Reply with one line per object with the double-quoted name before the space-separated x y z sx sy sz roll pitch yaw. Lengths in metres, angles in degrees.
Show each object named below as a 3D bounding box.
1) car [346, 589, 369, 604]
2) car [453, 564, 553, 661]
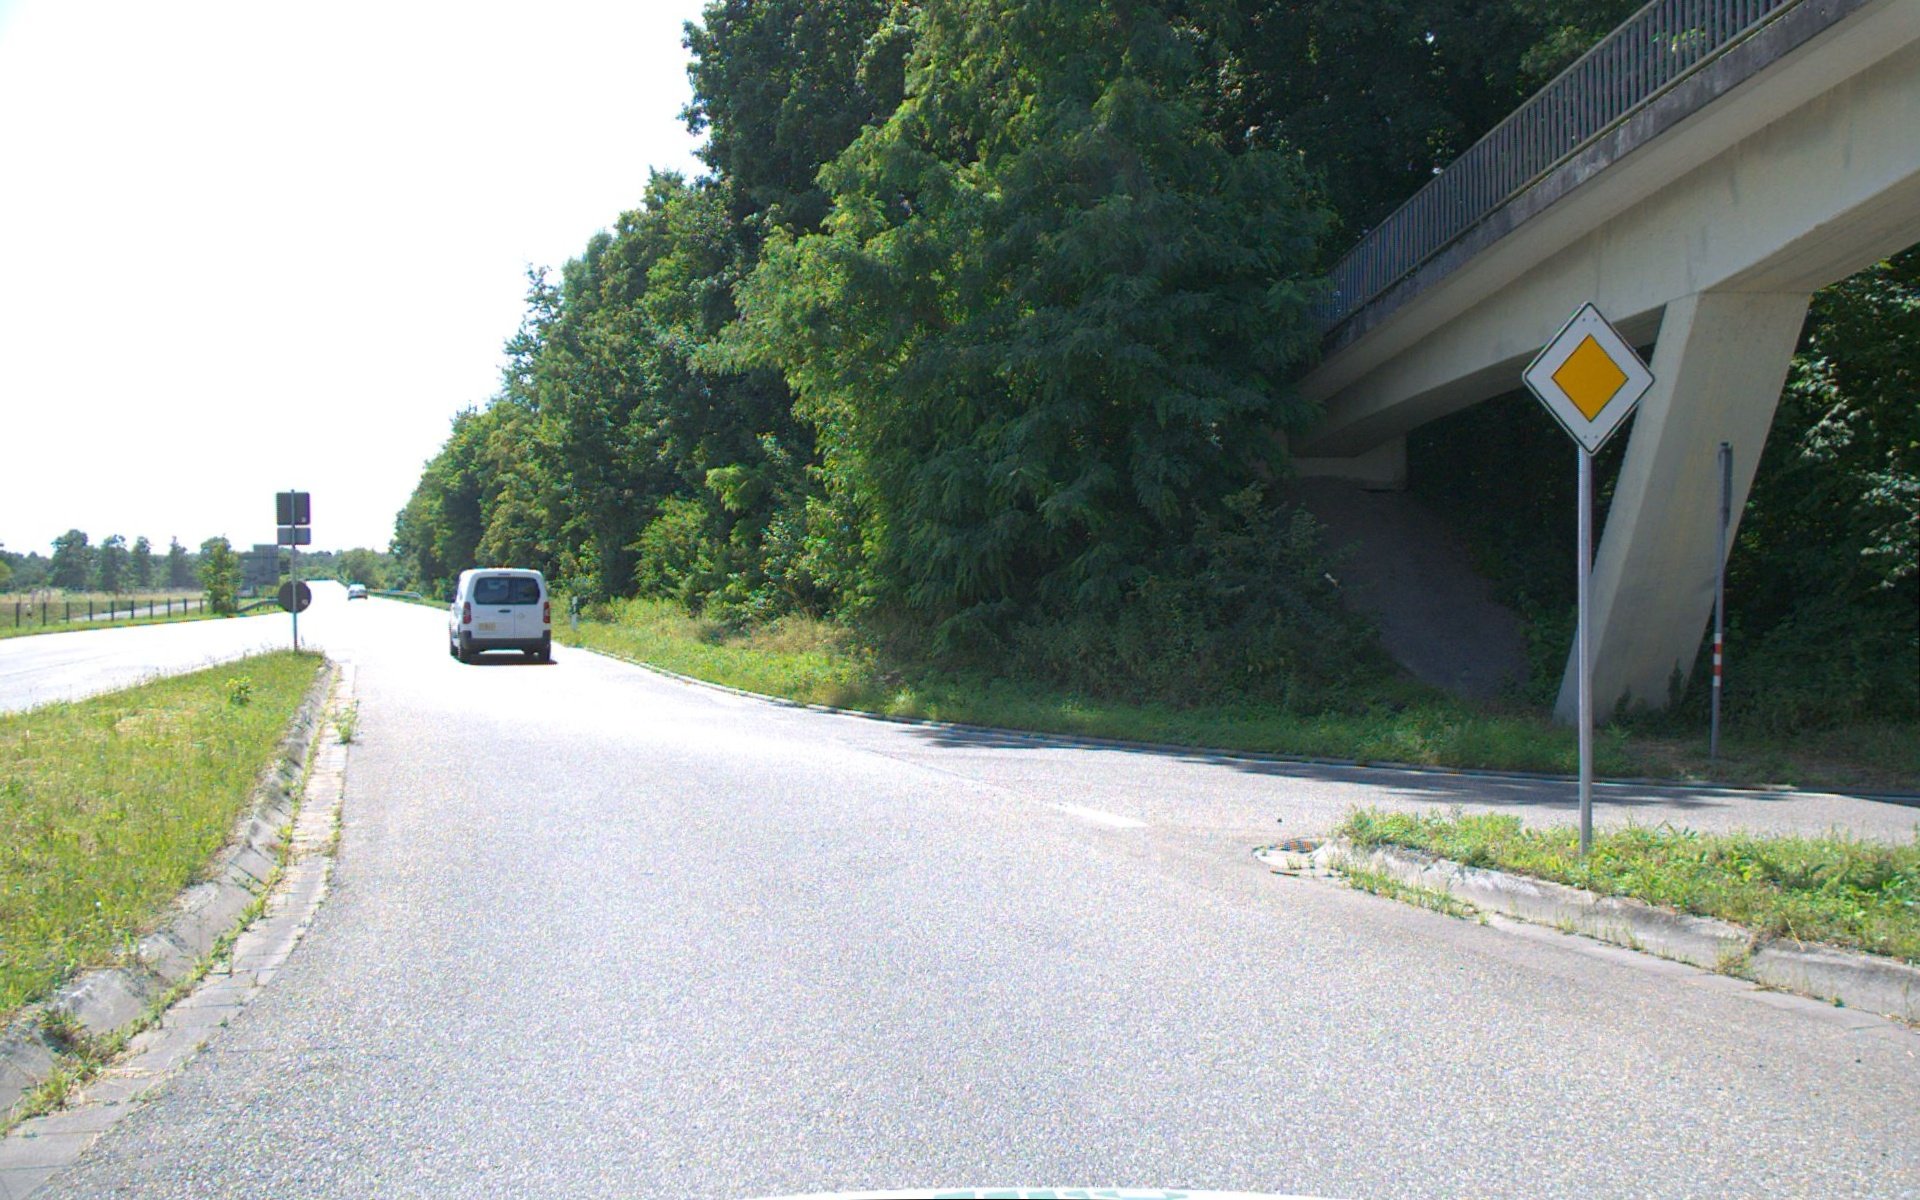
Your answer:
"car" -58.948 -0.321 161.959 1.963 1.397 4.756 -1 0 -19
"car" -9.372 0.235 33.737 1.820 1.857 3.961 0 0 -18
